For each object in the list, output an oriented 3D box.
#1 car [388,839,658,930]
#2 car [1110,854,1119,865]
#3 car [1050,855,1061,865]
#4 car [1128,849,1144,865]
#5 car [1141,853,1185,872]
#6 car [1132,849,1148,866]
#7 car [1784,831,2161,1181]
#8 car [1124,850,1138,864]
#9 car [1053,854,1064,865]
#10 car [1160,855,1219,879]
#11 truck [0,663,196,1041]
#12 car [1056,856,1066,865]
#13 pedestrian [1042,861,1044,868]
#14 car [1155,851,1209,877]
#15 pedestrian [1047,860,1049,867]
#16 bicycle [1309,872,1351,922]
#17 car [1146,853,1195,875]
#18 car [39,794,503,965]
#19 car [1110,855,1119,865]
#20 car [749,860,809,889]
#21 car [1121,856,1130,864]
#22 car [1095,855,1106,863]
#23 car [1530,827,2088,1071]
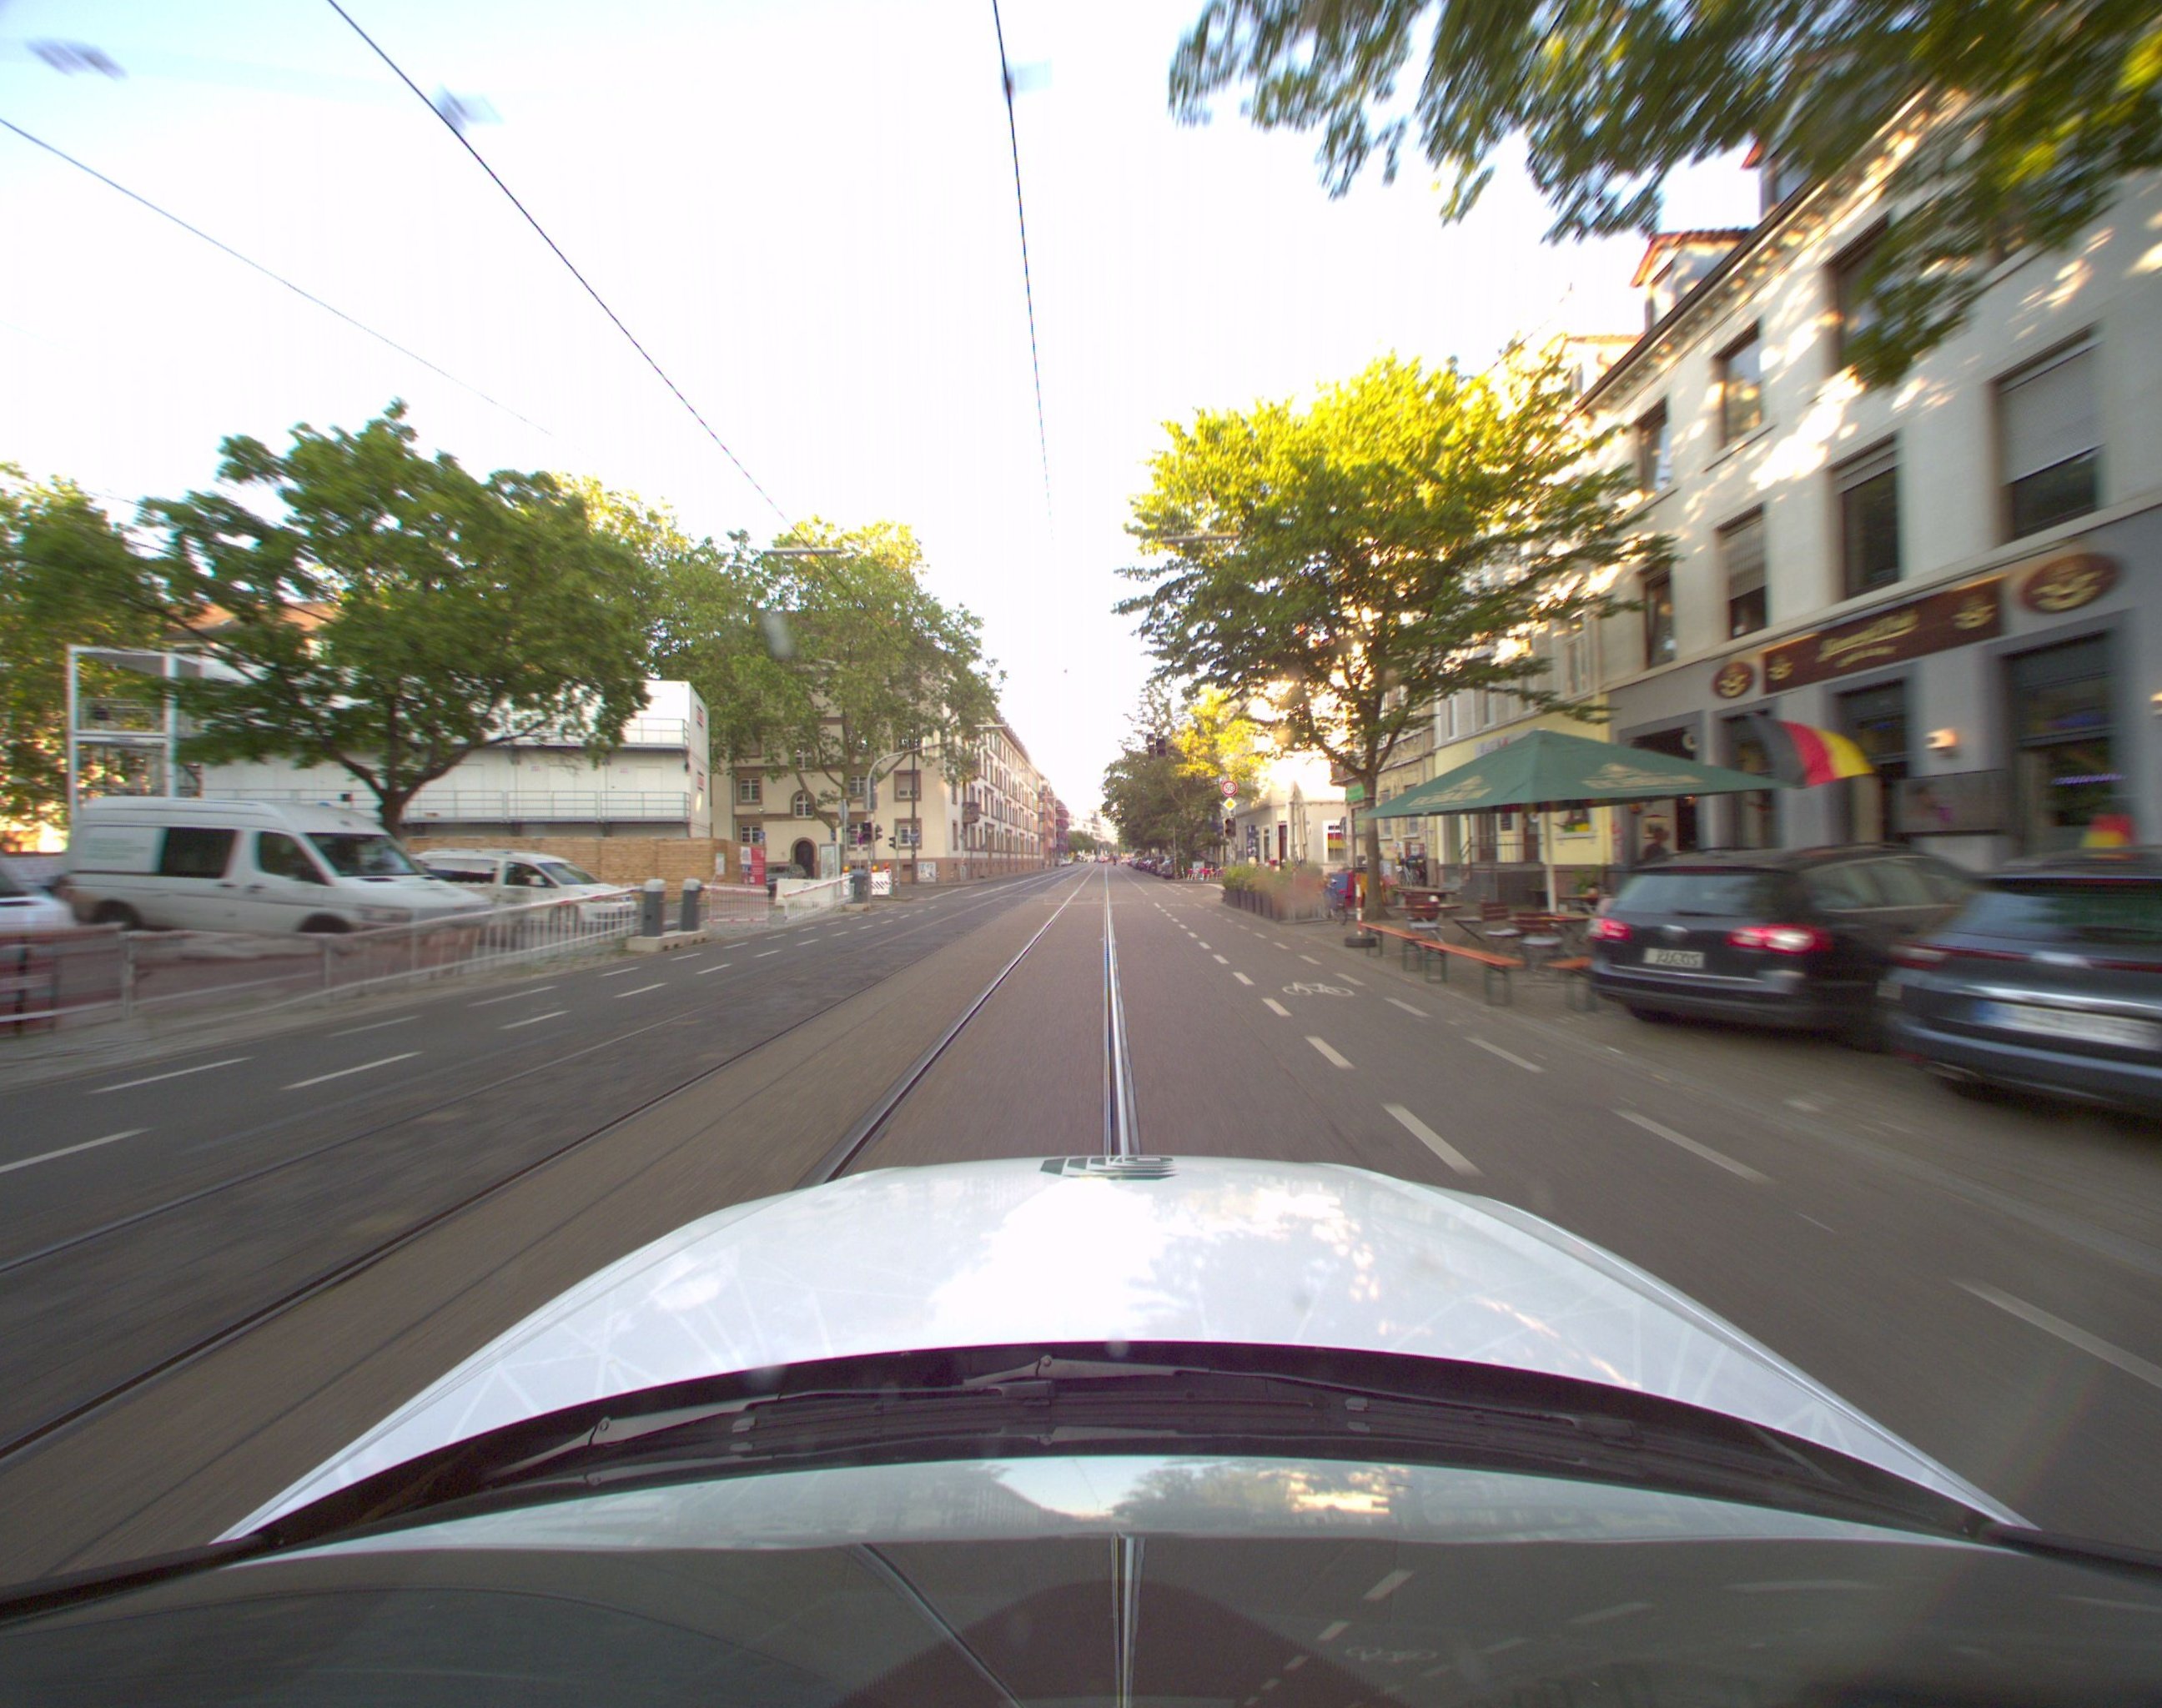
[{"bbox_3d":[-13.213,0.667,19.486,5.001,1.945,2.231,1,0,6],"label":"car"},{"bbox_3d":[6.780,1.115,165.095,1.891,2.014,4.002,-1,0,2],"label":"car"},{"bbox_3d":[-5.014,1.222,162.308,1.891,2.014,4.002,-1,0,2],"label":"car"},{"bbox_3d":[7.069,0.389,105.082,1.798,2.014,4.002,-1,0,2],"label":"car"},{"bbox_3d":[7.379,0.751,73.453,3.872,1.661,1.862,-1,-1,2],"label":"car"},{"bbox_3d":[6.929,0.412,95.388,1.715,2.014,4.002,-1,0,2],"label":"car"},{"bbox_3d":[6.530,0.605,4.471,4.182,1.462,1.998,-2,-1,-15],"label":"car"},{"bbox_3d":[7.244,0.458,117.900,1.891,2.014,4.002,-1,0,2],"label":"car"},{"bbox_3d":[-4.608,1.118,166.948,1.891,2.178,4.002,-1,0,2],"label":"car"},{"bbox_3d":[7.438,0.905,56.265,3.872,1.592,1.862,-1,-1,2],"label":"car"},{"bbox_3d":[-13.486,-0.066,7.764,7.039,3.480,2.539,1,0,-2],"label":"truck"},{"bbox_3d":[-4.168,1.378,172.496,1.891,2.014,4.002,-1,0,2],"label":"car"},{"bbox_3d":[-6.103,1.601,129.784,0.293,1.110,0.252,-1,-1,-3],"label":"pedestrian"},{"bbox_3d":[7.642,0.742,61.813,3.872,1.848,1.862,-1,-1,2],"label":"car"},{"bbox_3d":[-5.215,1.585,129.804,0.293,1.110,0.252,-1,-1,-3],"label":"pedestrian"},{"bbox_3d":[5.537,0.931,18.162,0.417,1.015,1.831,-1,0,2],"label":"bicycle"},{"bbox_3d":[7.293,0.804,66.679,3.872,1.661,1.862,-1,-1,2],"label":"car"},{"bbox_3d":[-13.227,0.390,13.637,5.384,2.558,2.226,1,0,-2],"label":"car"},{"bbox_3d":[7.042,1.199,172.520,1.891,2.014,4.002,-1,0,2],"label":"car"},{"bbox_3d":[-17.970,1.212,48.657,1.905,1.640,4.120,-1,-1,2],"label":"car"},{"bbox_3d":[10.441,1.341,192.321,1.956,1.718,4.003,-1,2,2],"label":"car"},{"bbox_3d":[5.157,1.359,219.257,1.978,2.014,4.017,-1,0,16],"label":"car"},{"bbox_3d":[6.282,0.621,7.069,4.193,1.498,1.993,-2,-1,-23],"label":"car"}]
